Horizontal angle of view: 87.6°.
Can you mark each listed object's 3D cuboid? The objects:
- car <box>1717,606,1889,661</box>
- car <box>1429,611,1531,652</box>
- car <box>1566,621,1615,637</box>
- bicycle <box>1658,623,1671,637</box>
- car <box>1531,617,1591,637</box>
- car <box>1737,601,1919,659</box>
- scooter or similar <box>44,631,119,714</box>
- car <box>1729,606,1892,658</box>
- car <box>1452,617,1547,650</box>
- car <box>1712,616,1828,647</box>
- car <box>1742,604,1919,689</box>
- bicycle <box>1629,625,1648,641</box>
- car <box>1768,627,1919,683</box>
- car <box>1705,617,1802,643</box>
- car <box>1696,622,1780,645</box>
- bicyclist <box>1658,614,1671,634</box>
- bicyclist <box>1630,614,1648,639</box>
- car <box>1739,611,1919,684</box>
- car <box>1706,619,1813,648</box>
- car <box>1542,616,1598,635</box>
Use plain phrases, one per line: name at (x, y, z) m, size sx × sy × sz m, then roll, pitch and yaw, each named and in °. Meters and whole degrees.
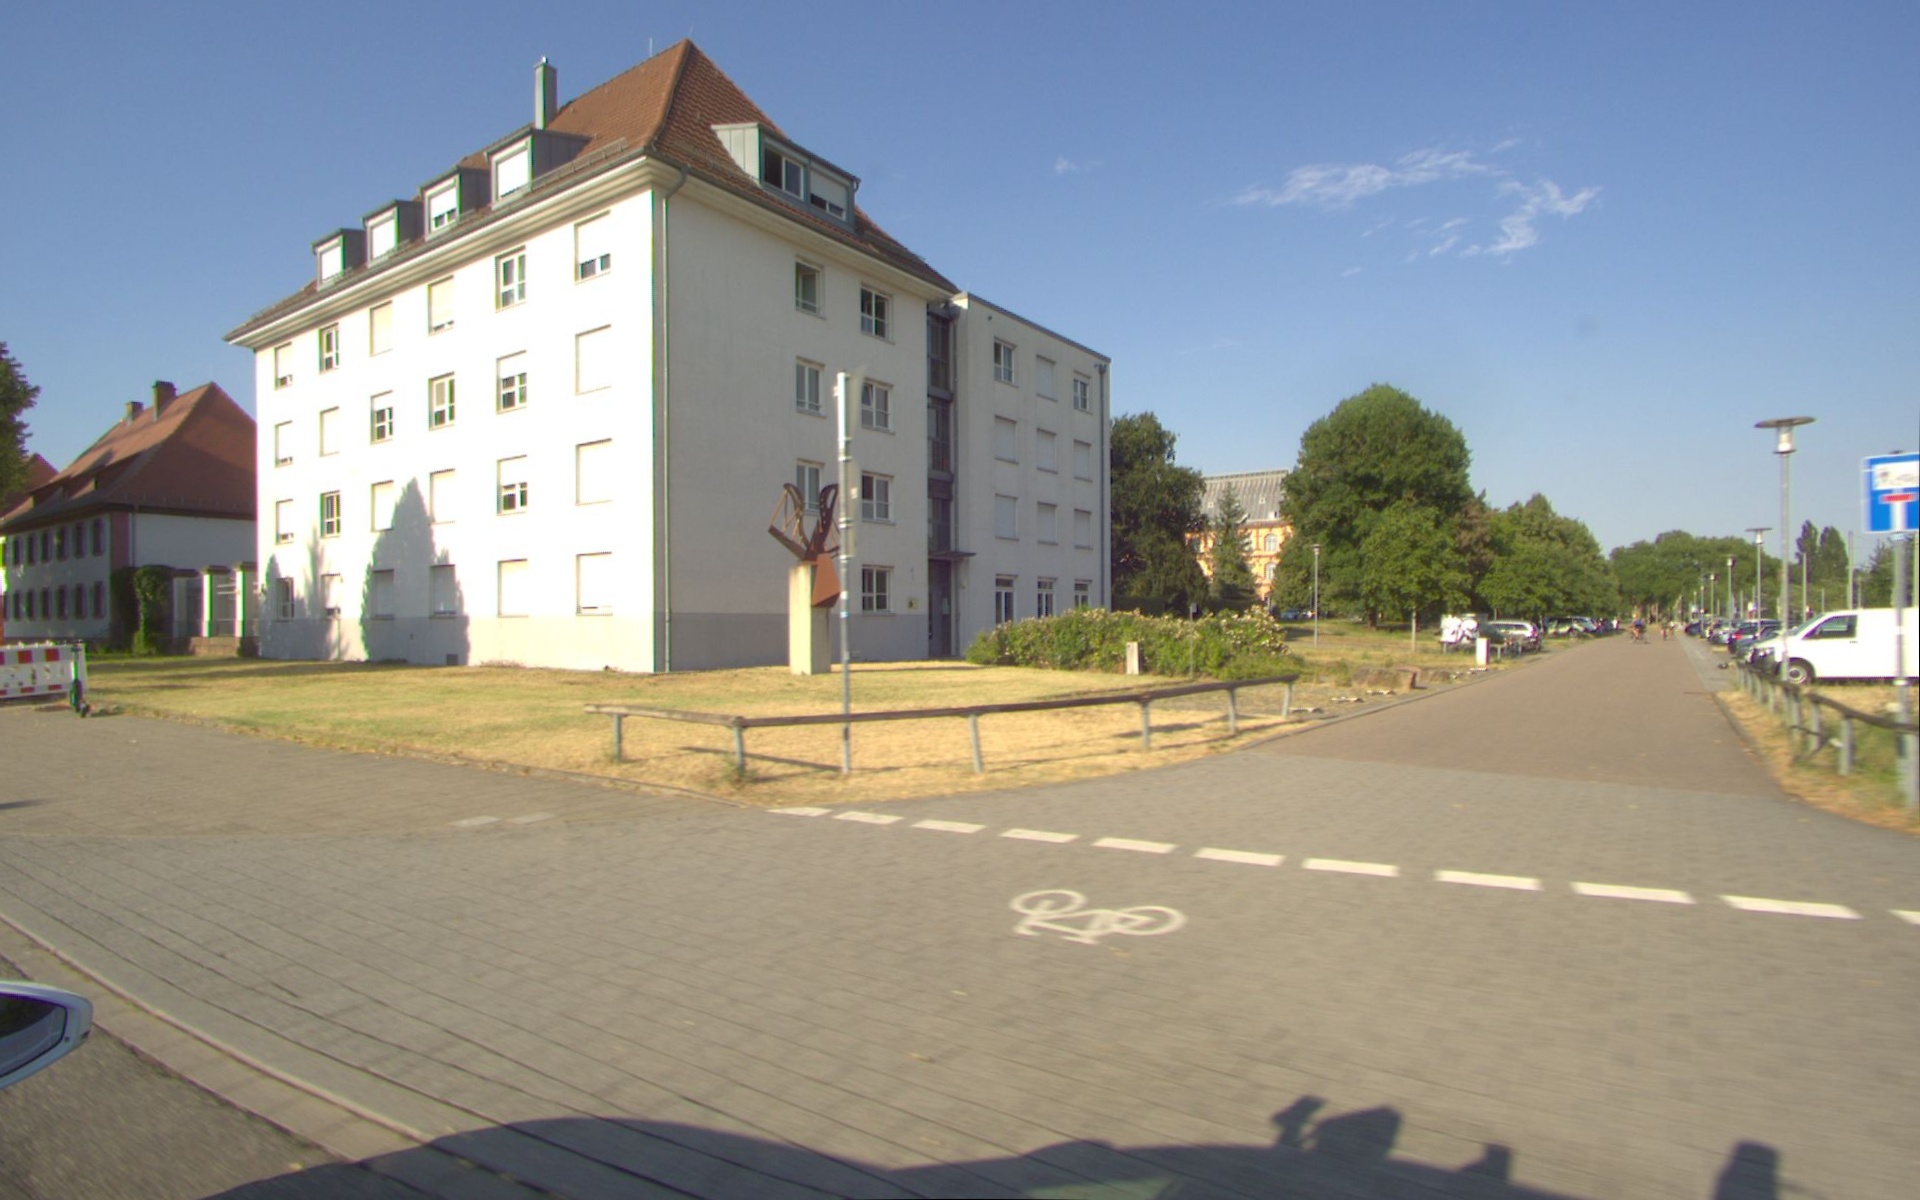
car at (33.251, 1.328, 39.736) m, size 4.993 × 2.039 × 2.255 m, roll -2°, pitch -2°, yaw 36°
car at (23.541, 1.423, 45.371) m, size 3.946 × 1.817 × 1.882 m, roll -1°, pitch -1°, yaw 35°
car at (60.193, 2.767, 95.603) m, size 3.946 × 1.550 × 1.988 m, roll -1°, pitch -1°, yaw 35°
bicycle at (53.855, 2.279, 76.574) m, size 0.613 × 1.089 × 2.394 m, roll -1°, pitch -1°, yaw 31°
car at (47.578, 2.112, 79.320) m, size 3.946 × 1.550 × 1.988 m, roll -1°, pitch -1°, yaw 35°
car at (32.205, 1.131, 37.326) m, size 4.993 × 2.039 × 2.255 m, roll -2°, pitch -2°, yaw 36°
scooter or similar at (-14.789, 1.190, 16.851) m, size 1.443 × 1.310 × 0.557 m, roll -1°, pitch 3°, yaw 36°
car at (35.370, 1.349, 41.887) m, size 4.993 × 2.039 × 2.255 m, roll -2°, pitch -2°, yaw 36°
car at (26.625, 1.655, 49.436) m, size 3.946 × 1.550 × 1.988 m, roll -1°, pitch -1°, yaw 35°
car at (46.179, 1.808, 57.243) m, size 4.993 × 1.724 × 2.255 m, roll -2°, pitch -2°, yaw 36°
car at (23.288, 1.167, 25.526) m, size 5.152 × 2.039 × 2.255 m, roll -3°, pitch -2°, yaw 36°
bicycle at (44.959, 2.178, 66.354) m, size 0.666 × 1.094 × 2.530 m, roll -1°, pitch -1°, yaw 26°
car at (24.856, 1.485, 27.554) m, size 3.948 × 1.461 × 1.859 m, roll -2°, pitch -2°, yaw 36°
car at (53.343, 2.038, 67.438) m, size 4.993 × 1.724 × 2.255 m, roll -2°, pitch -2°, yaw 36°
car at (59.846, 2.601, 77.140) m, size 4.993 × 1.724 × 2.255 m, roll -2°, pitch -2°, yaw 36°
bicyclist at (53.876, 1.849, 76.609) m, size 0.739 × 1.544 × 0.889 m, roll -1°, pitch -1°, yaw 32°
bicyclist at (44.835, 1.755, 66.131) m, size 0.811 × 1.613 × 0.931 m, roll -1°, pitch -1°, yaw 26°
car at (26.582, 1.404, 30.006) m, size 4.993 × 2.039 × 2.255 m, roll -2°, pitch -2°, yaw 36°
car at (48.786, 2.043, 61.261) m, size 4.993 × 1.724 × 2.255 m, roll -2°, pitch -2°, yaw 36°
car at (51.860, 2.176, 85.167) m, size 3.946 × 1.550 × 1.988 m, roll -1°, pitch -1°, yaw 35°
